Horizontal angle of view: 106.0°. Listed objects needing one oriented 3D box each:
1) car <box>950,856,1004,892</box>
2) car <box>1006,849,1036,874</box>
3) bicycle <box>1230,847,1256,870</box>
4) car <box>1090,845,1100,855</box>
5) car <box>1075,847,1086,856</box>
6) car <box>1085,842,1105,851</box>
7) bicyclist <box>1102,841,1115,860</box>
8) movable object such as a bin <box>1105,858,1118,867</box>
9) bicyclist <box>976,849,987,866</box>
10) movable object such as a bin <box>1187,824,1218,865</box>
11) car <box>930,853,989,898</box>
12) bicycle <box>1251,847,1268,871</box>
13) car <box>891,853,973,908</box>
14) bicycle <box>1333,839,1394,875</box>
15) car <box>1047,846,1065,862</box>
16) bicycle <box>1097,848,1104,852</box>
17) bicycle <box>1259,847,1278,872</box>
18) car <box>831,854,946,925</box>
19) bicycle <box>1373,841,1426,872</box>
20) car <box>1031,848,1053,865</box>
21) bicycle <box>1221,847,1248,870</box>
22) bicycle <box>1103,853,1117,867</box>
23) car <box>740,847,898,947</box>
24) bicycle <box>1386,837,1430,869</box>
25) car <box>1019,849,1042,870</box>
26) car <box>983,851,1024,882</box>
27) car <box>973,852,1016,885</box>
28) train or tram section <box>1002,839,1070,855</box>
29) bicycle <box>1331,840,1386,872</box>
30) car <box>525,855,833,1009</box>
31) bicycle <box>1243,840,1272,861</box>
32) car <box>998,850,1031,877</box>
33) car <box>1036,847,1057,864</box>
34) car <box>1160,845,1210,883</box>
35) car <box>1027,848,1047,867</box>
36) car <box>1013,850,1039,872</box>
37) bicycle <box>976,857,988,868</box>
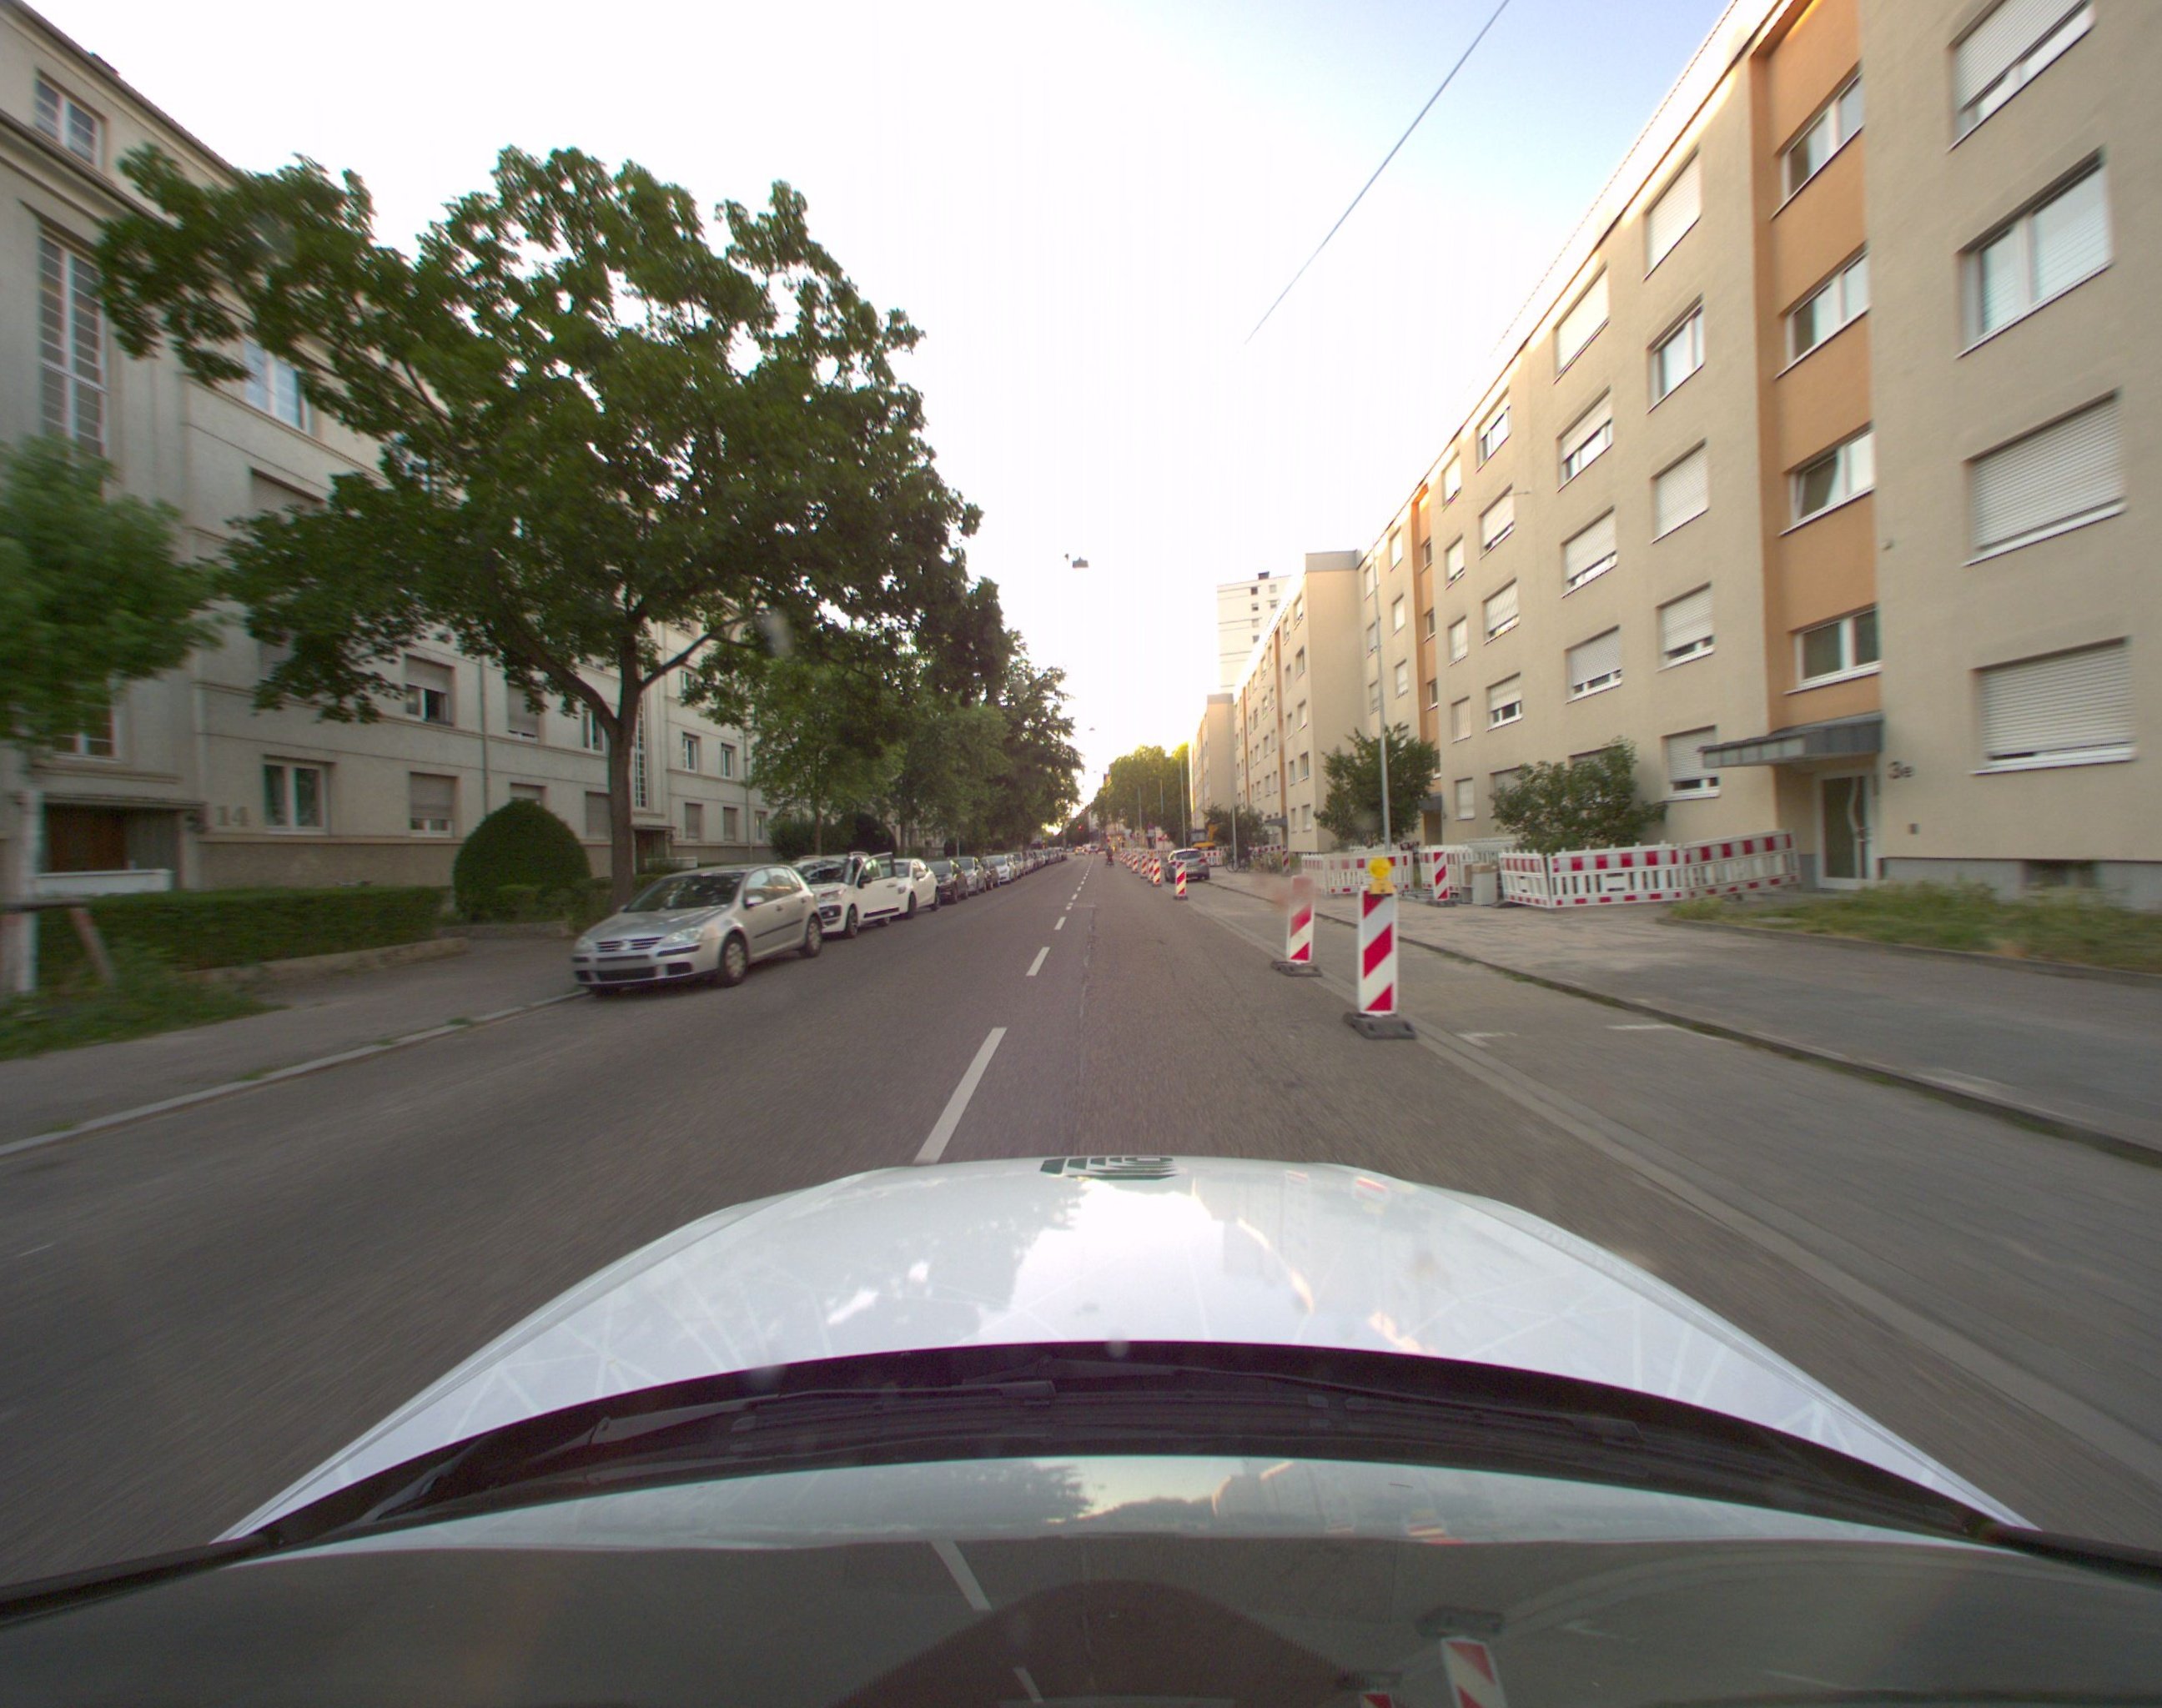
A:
[{"bbox_3d":[-4.569,0.830,36.297,1.669,1.331,4.580,-5,0,0],"label":"car"},{"bbox_3d":[-4.160,0.516,56.665,1.583,1.529,2.924,-5,0,3],"label":"car"},{"bbox_3d":[8.604,0.239,43.333,0.627,1.172,1.807,-2,0,-15],"label":"bicycle"},{"bbox_3d":[3.016,-0.850,173.214,1.860,1.815,3.999,-3,0,0],"label":"car"},{"bbox_3d":[-0.113,-0.545,157.124,1.859,1.585,4.001,-3,0,1],"label":"car"},{"bbox_3d":[4.089,-2.151,235.509,5.855,2.287,2.047,-2,1,-42],"label":"car"},{"bbox_3d":[2.374,-0.291,69.621,0.937,1.581,1.145,-5,0,-2],"label":"bicyclist"},{"bbox_3d":[2.519,0.736,67.986,0.937,0.689,0.992,-5,0,-2],"label":"movable object such as a bin"},{"bbox_3d":[-8.478,0.279,69.447,0.805,1.404,0.974,-1,0,1],"label":"bicyclist"},{"bbox_3d":[8.456,-0.661,57.011,1.924,2.693,2.896,-2,0,6],"label":"movable object such as a bin"},{"bbox_3d":[-4.647,0.780,31.502,1.670,1.459,3.703,-5,0,-1],"label":"car"},{"bbox_3d":[9.028,0.239,41.301,0.553,1.172,1.819,-2,0,4],"label":"bicycle"},{"bbox_3d":[-4.758,0.785,26.690,1.747,1.479,4.677,-5,0,-1],"label":"car"},{"bbox_3d":[9.770,0.116,28.198,1.804,1.022,0.558,-7,-1,1],"label":"bicycle"},{"bbox_3d":[-3.044,-0.007,101.411,1.947,1.718,4.771,-4,0,0],"label":"car"},{"bbox_3d":[5.410,-1.095,229.032,1.909,0.968,0.545,-2,0,-1],"label":"bicycle"},{"bbox_3d":[9.033,0.242,39.252,0.553,1.172,1.819,-2,0,4],"label":"bicycle"},{"bbox_3d":[-4.848,0.830,21.106,1.745,1.479,3.947,-5,0,3],"label":"car"},{"bbox_3d":[10.508,0.090,26.905,0.559,0.865,1.600,-6,-1,-27],"label":"bicycle"},{"bbox_3d":[-3.750,0.260,79.475,1.701,1.452,3.844,-5,0,1],"label":"car"},{"bbox_3d":[8.076,0.246,42.836,0.557,1.172,1.805,-2,0,-18],"label":"bicycle"},{"bbox_3d":[2.436,0.507,69.656,0.937,1.172,2.357,-5,0,-2],"label":"bicycle"},{"bbox_3d":[-5.139,0.761,16.588,1.747,1.631,4.106,-5,0,0],"label":"car"},{"bbox_3d":[11.637,-0.044,28.968,1.827,0.921,0.551,-6,-1,-40],"label":"bicycle"},{"bbox_3d":[-4.052,0.402,65.524,1.518,1.529,3.164,-5,0,0],"label":"car"},{"bbox_3d":[-4.325,0.666,45.907,1.686,1.459,4.484,-5,0,1],"label":"car"},{"bbox_3d":[-4.338,0.707,41.336,1.687,1.459,4.144,-5,0,-1],"label":"car"},{"bbox_3d":[-11.778,-1.760,212.179,16.870,3.625,5.068,-2,0,18],"label":"train or tram section"},{"bbox_3d":[10.177,0.069,29.930,1.742,0.986,0.559,-7,-1,10],"label":"bicycle"},{"bbox_3d":[-4.959,0.839,10.847,1.745,1.471,4.226,-5,0,2],"label":"car"},{"bbox_3d":[10.501,-0.211,48.426,1.590,1.222,0.484,-2,0,-6],"label":"bicycle"},{"bbox_3d":[-4.251,0.574,52.487,1.585,1.505,3.800,-5,0,1],"label":"car"},{"bbox_3d":[-3.518,0.110,83.891,1.701,1.600,4.117,-5,0,1],"label":"car"},{"bbox_3d":[4.772,0.432,37.982,1.769,1.490,4.576,-6,0,2],"label":"car"},{"bbox_3d":[-3.999,0.329,75.082,1.586,1.538,4.204,-5,0,-1],"label":"car"},{"bbox_3d":[-4.110,0.470,61.250,1.585,1.466,4.101,-5,0,-1],"label":"car"},{"bbox_3d":[-8.424,0.710,69.428,0.805,0.911,1.762,-1,0,1],"label":"bicycle"}]
